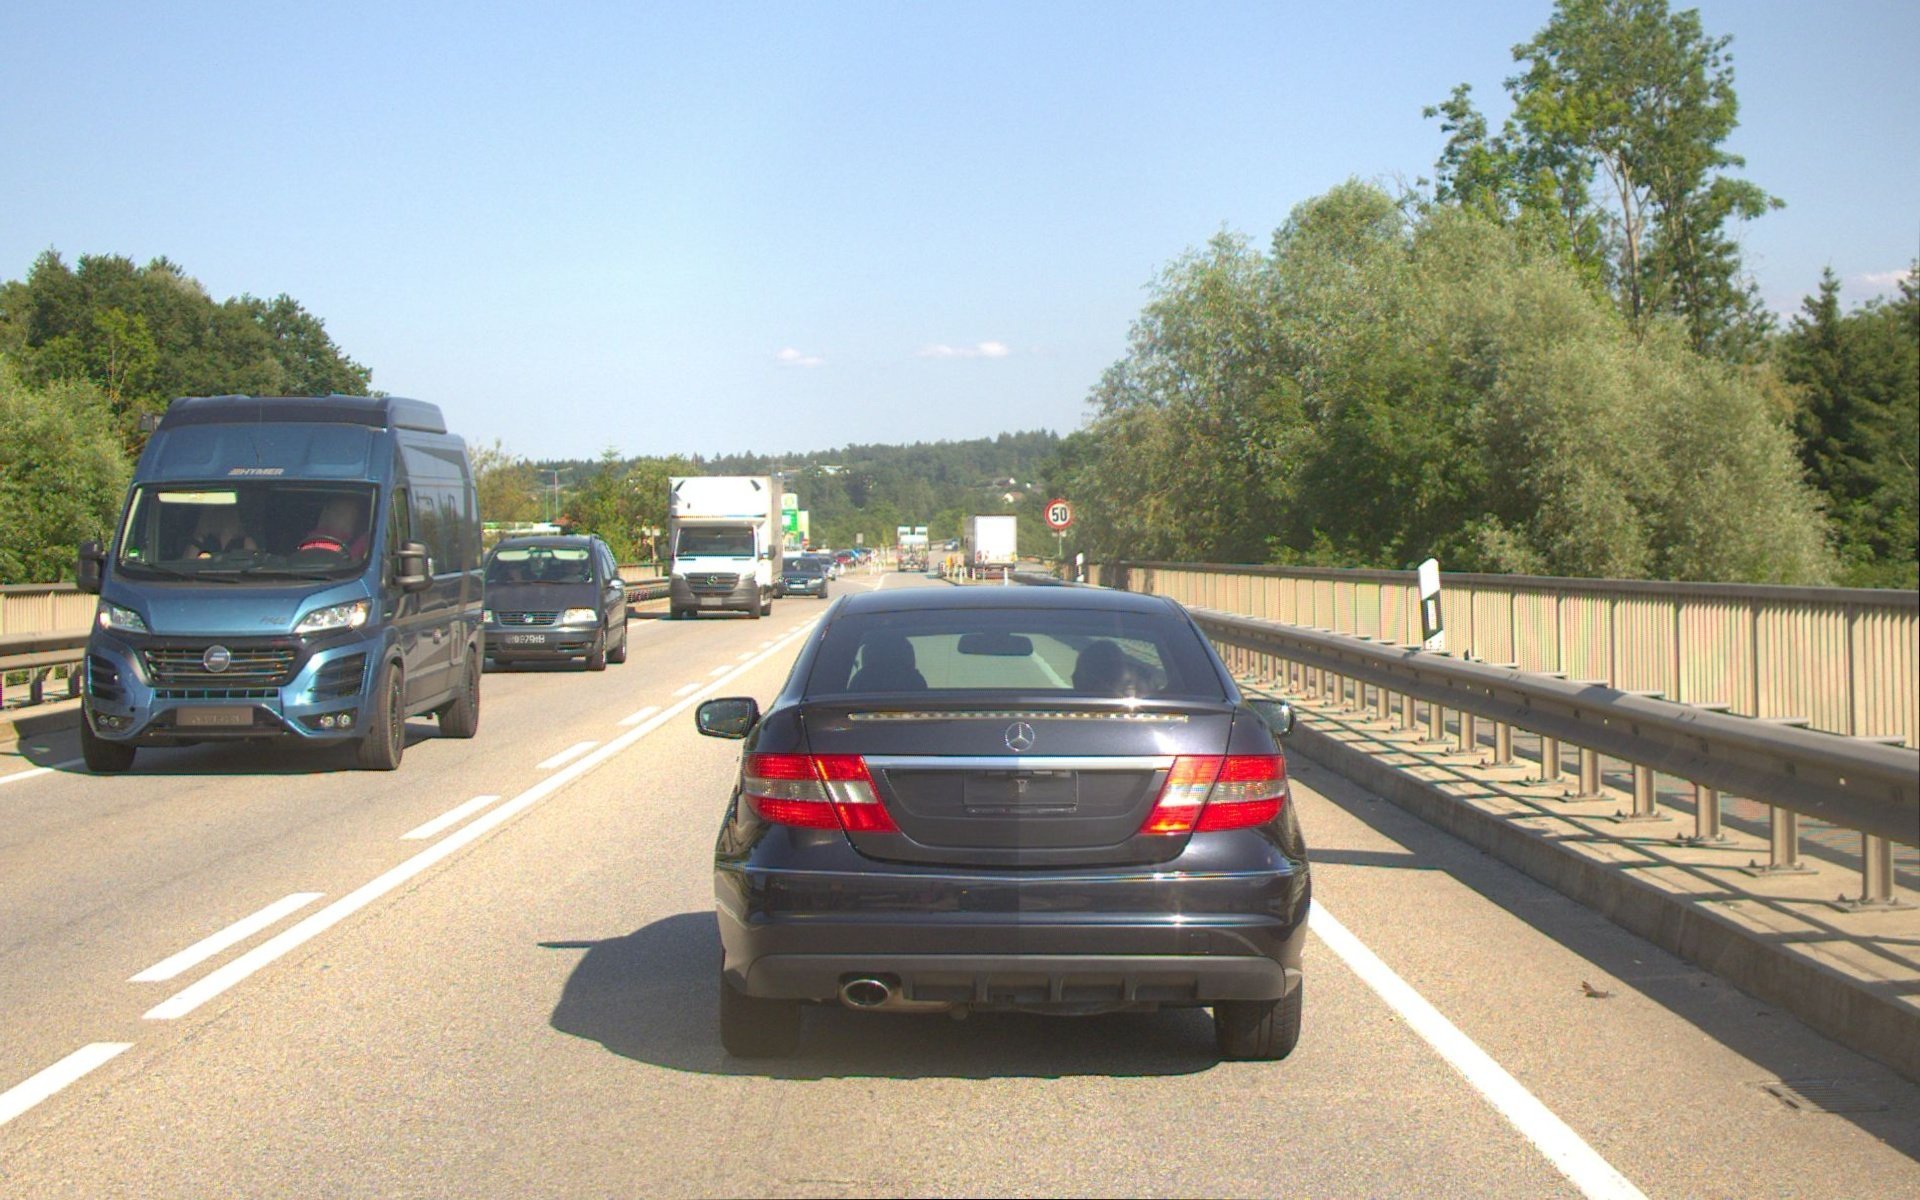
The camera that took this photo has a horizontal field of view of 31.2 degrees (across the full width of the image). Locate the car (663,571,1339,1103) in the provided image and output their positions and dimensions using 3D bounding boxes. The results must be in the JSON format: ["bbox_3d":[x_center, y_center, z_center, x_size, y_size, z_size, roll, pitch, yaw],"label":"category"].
[{"bbox_3d":[0.131,0.611,11.119,1.793,1.371,4.000,0,1,1],"label":"car"}]

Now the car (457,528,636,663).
[{"bbox_3d":[-5.236,-0.099,44.028,1.841,1.636,4.577,0,1,-1],"label":"car"}]

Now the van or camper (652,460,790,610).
[{"bbox_3d":[-5.407,-1.489,78.909,2.635,3.245,7.750,0,1,0],"label":"van or camper"}]

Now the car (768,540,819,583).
[{"bbox_3d":[-5.580,-1.298,115.177,1.659,1.431,4.189,0,1,-3],"label":"car"}]

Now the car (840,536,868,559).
[{"bbox_3d":[-7.457,-3.699,242.314,1.804,1.601,3.916,0,1,0],"label":"car"}]

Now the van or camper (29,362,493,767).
[{"bbox_3d":[-4.980,-0.287,25.567,2.430,2.633,6.405,0,1,-3],"label":"van or camper"}]

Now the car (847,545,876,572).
[{"bbox_3d":[-7.343,-3.081,256.214,1.993,2.007,4.000,0,1,0],"label":"car"}]
